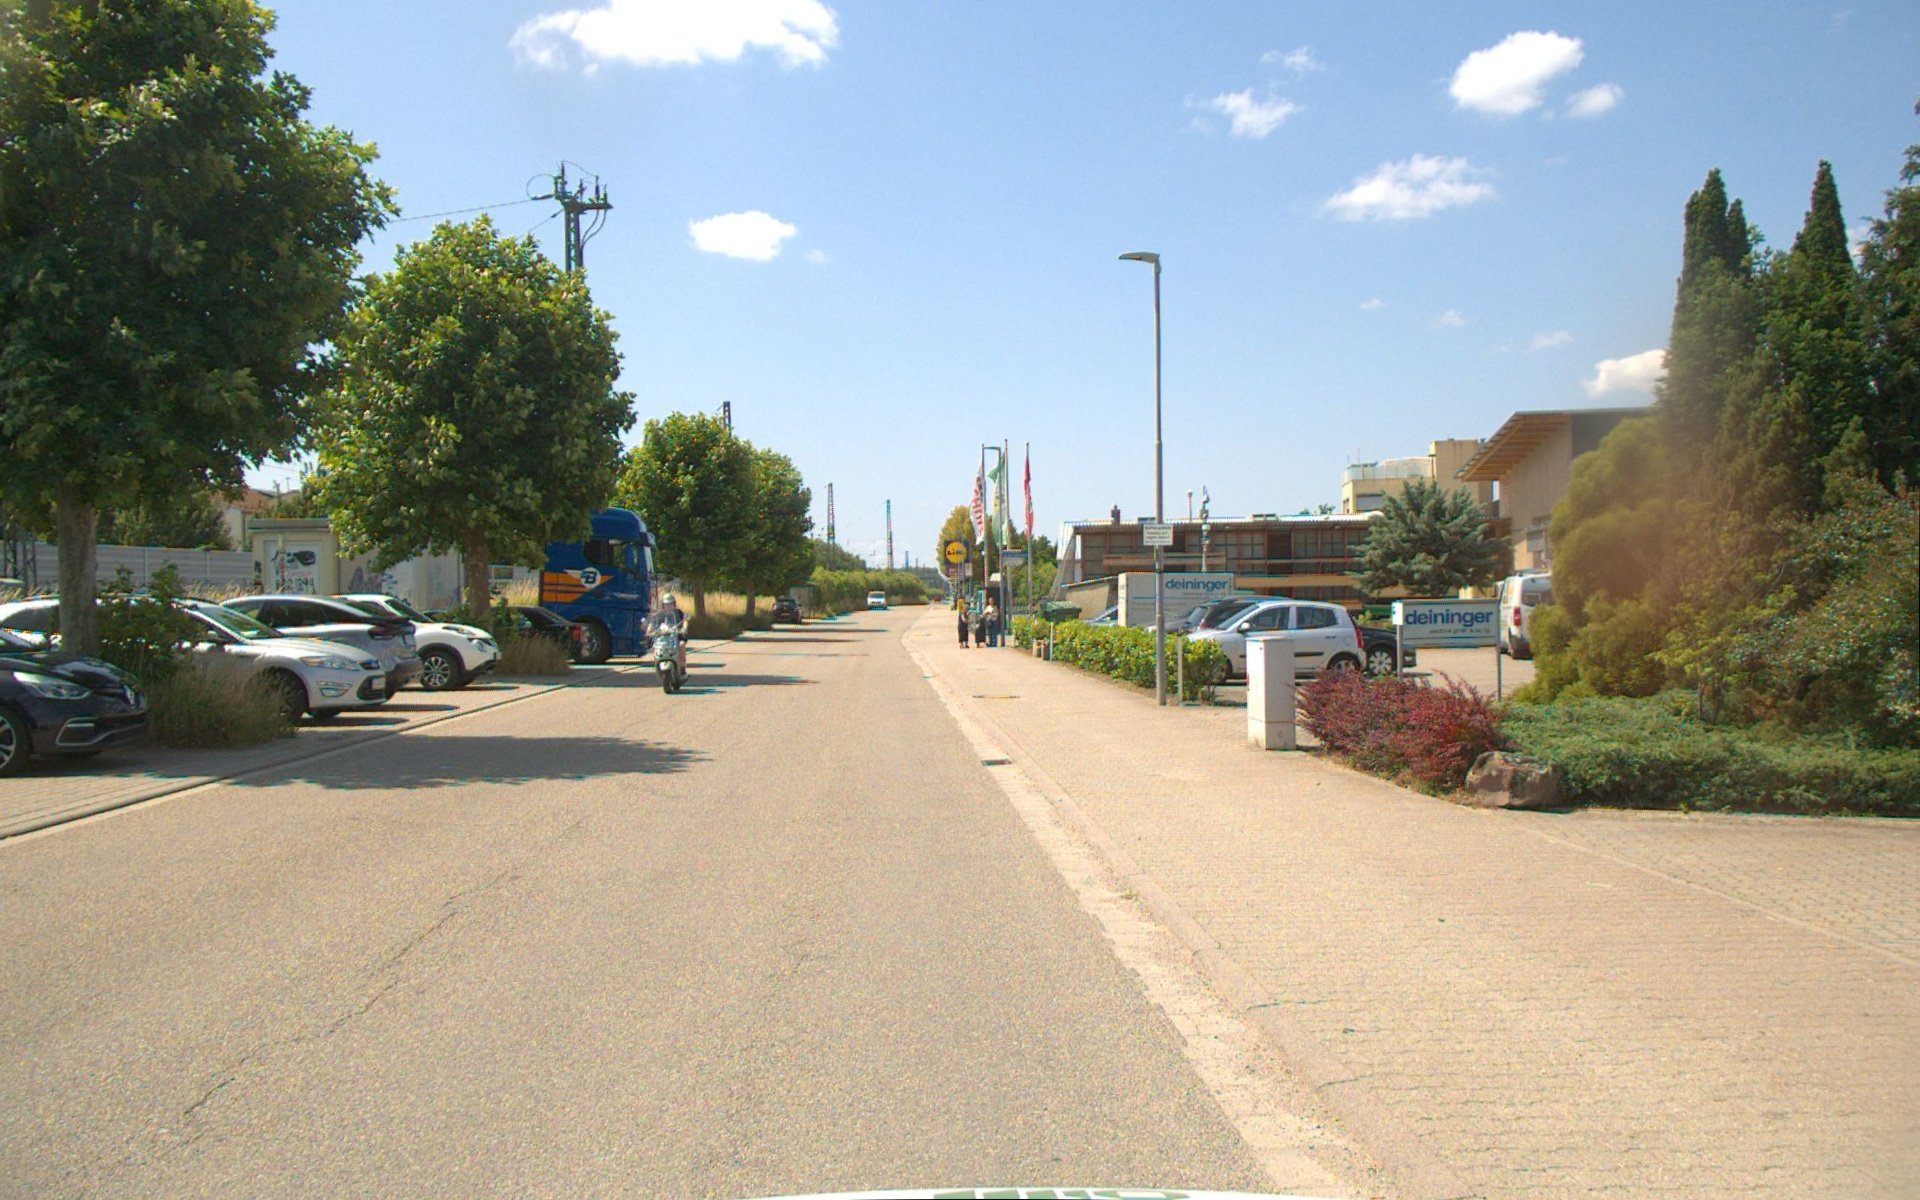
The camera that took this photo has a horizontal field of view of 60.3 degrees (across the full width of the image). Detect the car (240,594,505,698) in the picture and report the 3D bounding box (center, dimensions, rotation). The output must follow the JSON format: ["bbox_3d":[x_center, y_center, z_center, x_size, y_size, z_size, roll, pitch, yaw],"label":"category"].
[{"bbox_3d":[-9.922,0.755,28.170,3.894,1.646,1.848,-1,0,-6],"label":"car"}]

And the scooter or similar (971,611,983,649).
[{"bbox_3d":[0.555,0.982,54.422,0.327,1.219,0.397,-2,-2,-2],"label":"scooter or similar"}]

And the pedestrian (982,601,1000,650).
[{"bbox_3d":[1.016,0.842,54.365,0.524,1.567,0.510,-2,-2,-4],"label":"pedestrian"}]

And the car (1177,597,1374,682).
[{"bbox_3d":[5.755,0.701,30.466,3.284,1.426,1.770,-2,0,0],"label":"car"}]

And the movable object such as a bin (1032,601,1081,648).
[{"bbox_3d":[3.168,0.797,54.362,1.255,1.484,1.034,1,0,-40],"label":"movable object such as a bin"}]

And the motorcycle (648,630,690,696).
[{"bbox_3d":[-4.983,1.060,28.398,0.454,1.069,1.954,0,-1,-2],"label":"motorcycle"}]

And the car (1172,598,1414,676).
[{"bbox_3d":[6.579,0.718,32.905,4.388,1.465,1.812,0,0,-6],"label":"car"}]

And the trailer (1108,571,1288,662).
[{"bbox_3d":[5.578,0.379,39.079,3.906,2.049,1.999,-1,0,-2],"label":"trailer"}]

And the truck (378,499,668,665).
[{"bbox_3d":[-10.642,-0.443,40.833,6.484,3.890,2.661,-1,0,-5],"label":"truck"}]

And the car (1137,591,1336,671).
[{"bbox_3d":[6.036,0.695,36.350,3.958,1.602,1.711,-2,-2,-8],"label":"car"}]

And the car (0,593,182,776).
[{"bbox_3d":[-9.274,0.742,14.534,3.991,1.498,1.786,-1,0,-3],"label":"car"}]

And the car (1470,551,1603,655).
[{"bbox_3d":[13.341,0.074,38.569,2.055,2.162,4.720,-3,-1,9],"label":"car"}]

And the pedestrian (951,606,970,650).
[{"bbox_3d":[0.020,0.918,54.400,0.554,1.430,0.583,-2,-2,-3],"label":"pedestrian"}]

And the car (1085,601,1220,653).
[{"bbox_3d":[5.670,0.792,49.081,3.768,1.481,1.817,0,0,-2],"label":"car"}]

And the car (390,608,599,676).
[{"bbox_3d":[-10.177,0.906,36.439,4.126,1.419,1.870,0,0,-5],"label":"car"}]

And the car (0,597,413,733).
[{"bbox_3d":[-9.153,0.754,20.289,4.251,1.560,1.925,0,0,-3],"label":"car"}]

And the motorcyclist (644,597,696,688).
[{"bbox_3d":[-4.987,0.726,28.468,0.760,1.535,0.921,0,0,-2],"label":"motorcyclist"}]

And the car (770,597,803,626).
[{"bbox_3d":[-10.450,0.657,99.715,1.707,1.623,3.577,-3,0,-3],"label":"car"}]

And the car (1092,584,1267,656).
[{"bbox_3d":[5.576,0.533,42.275,4.129,1.662,1.799,-2,-2,-4],"label":"car"}]

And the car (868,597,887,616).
[{"bbox_3d":[-8.443,0.639,169.786,1.801,1.890,4.482,0,0,-2],"label":"car"}]

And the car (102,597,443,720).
[{"bbox_3d":[-9.420,0.775,22.950,3.909,1.575,1.998,0,0,-5],"label":"car"}]
